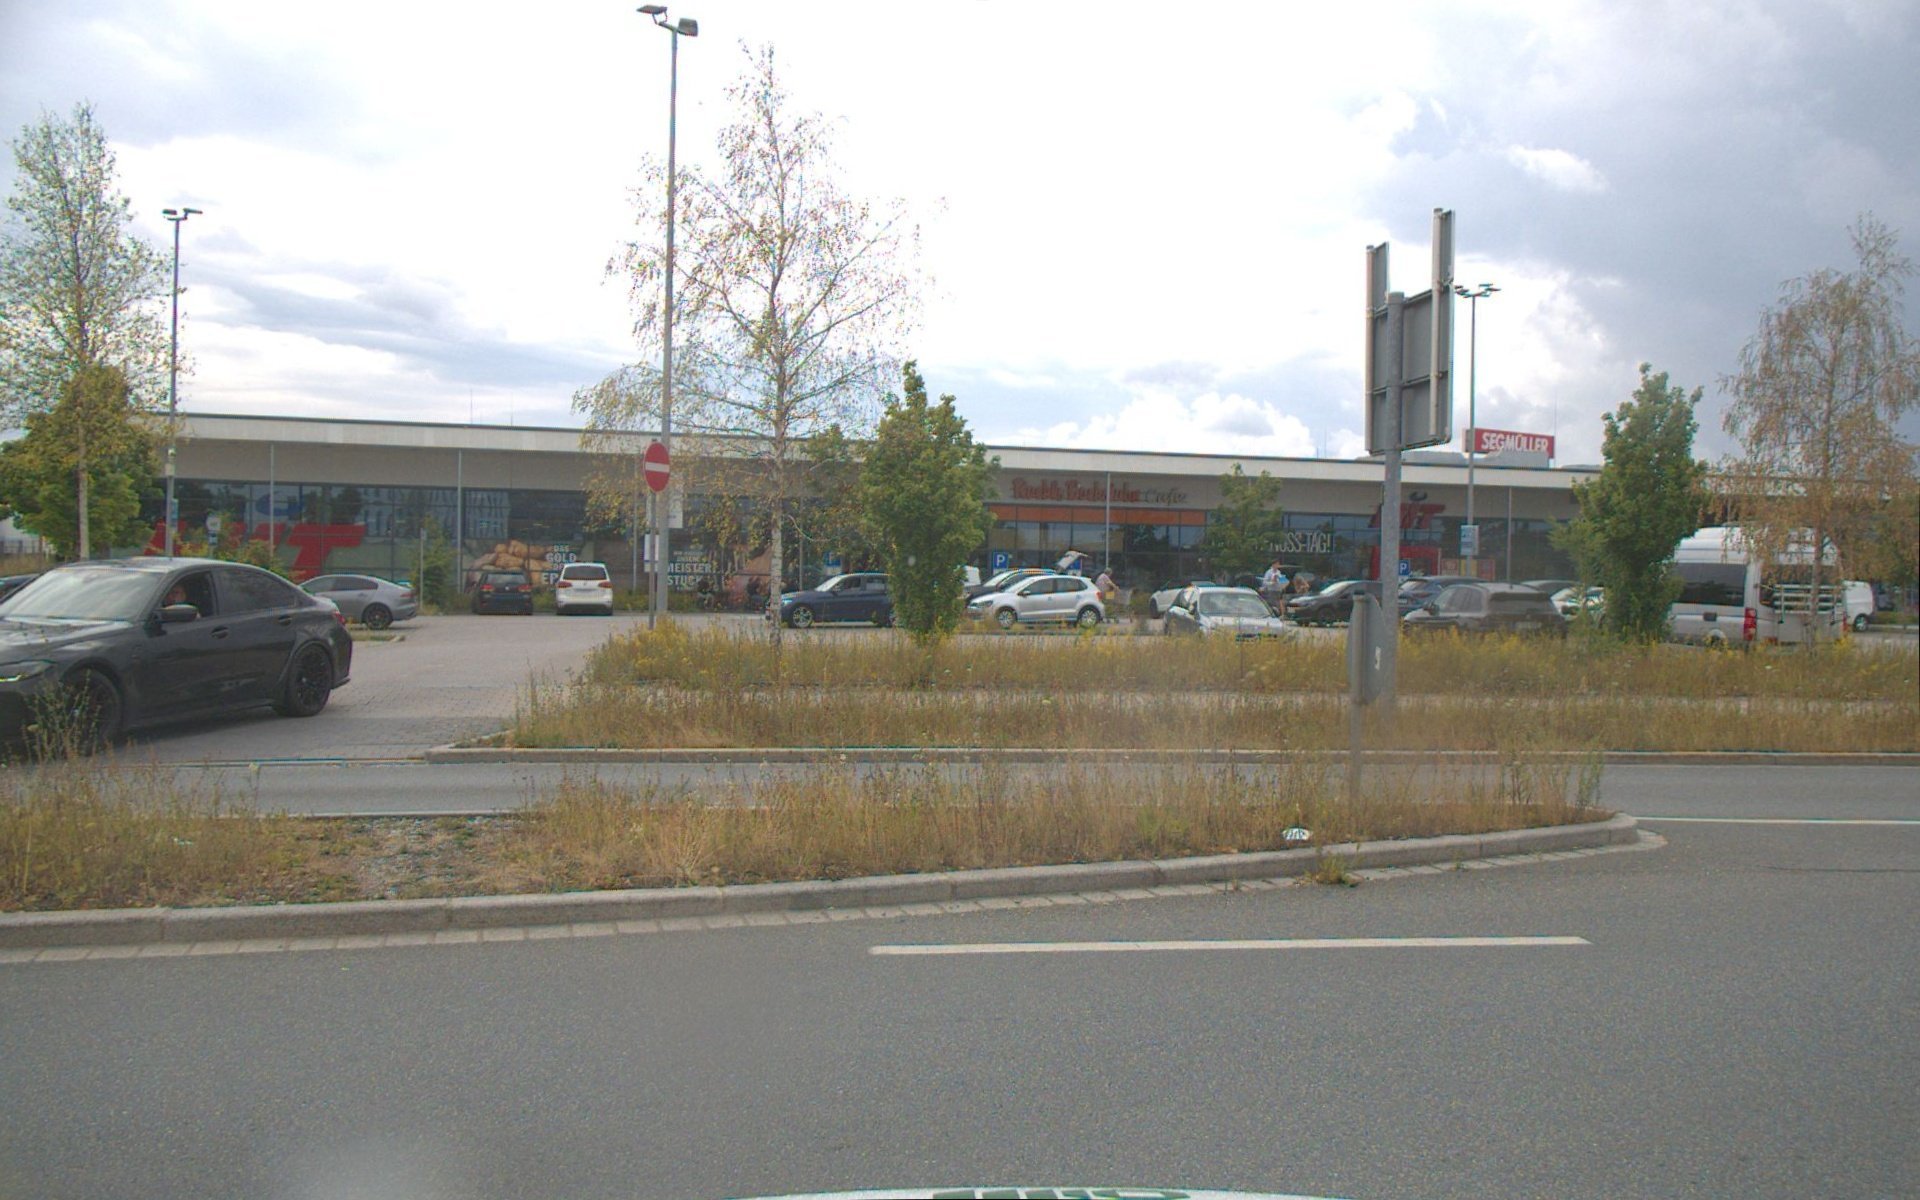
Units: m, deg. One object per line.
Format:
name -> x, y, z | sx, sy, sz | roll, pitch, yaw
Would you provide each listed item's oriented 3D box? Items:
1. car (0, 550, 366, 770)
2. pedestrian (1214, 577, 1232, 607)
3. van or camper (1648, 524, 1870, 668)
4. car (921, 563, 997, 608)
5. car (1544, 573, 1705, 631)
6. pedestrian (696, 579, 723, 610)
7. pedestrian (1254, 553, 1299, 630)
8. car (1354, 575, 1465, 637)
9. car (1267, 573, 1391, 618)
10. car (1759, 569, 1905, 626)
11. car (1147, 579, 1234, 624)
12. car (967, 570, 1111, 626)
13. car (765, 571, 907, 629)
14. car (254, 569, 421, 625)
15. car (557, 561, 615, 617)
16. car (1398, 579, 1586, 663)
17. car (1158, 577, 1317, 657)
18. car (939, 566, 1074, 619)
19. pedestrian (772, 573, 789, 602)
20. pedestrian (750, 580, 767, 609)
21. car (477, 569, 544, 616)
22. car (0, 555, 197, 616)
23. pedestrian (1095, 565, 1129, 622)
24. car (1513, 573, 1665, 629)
car -> -7.013, 0.340, 13.803 | 1.742, 1.470, 4.615 | 1, 2, 11
pedestrian -> 11.033, -0.343, 69.362 | 0.550, 1.222, 0.526 | 0, 1, -14
van or camper -> 15.165, -0.089, 31.661 | 2.236, 2.536, 3.999 | 1, 0, -1
car -> -0.087, -0.553, 59.287 | 1.958, 1.534, 3.989 | 0, 1, -12
car -> 19.512, 0.046, 48.660 | 3.910, 1.646, 1.998 | 1, 1, -6
pedestrian -> -9.992, -0.226, 65.907 | 0.955, 1.174, 1.128 | 1, 1, -16
pedestrian -> 8.594, -0.239, 44.925 | 0.981, 2.048, 0.866 | 1, 1, -6
car -> 12.891, 0.137, 47.677 | 1.779, 1.682, 3.996 | 1, 1, -5
car -> 13.438, -0.175, 60.299 | 3.918, 1.534, 1.994 | 1, 1, -13
car -> 30.238, -0.085, 57.366 | 4.343, 1.850, 1.991 | 1, 0, -17
car -> 8.537, 0.023, 61.595 | 1.958, 1.534, 3.989 | 1, 1, -12
car -> 2.194, -0.073, 46.142 | 3.683, 1.479, 1.662 | 1, 1, -15
car -> -3.348, -0.009, 44.359 | 3.547, 1.479, 1.661 | 1, 1, -16
car -> -16.199, -0.078, 43.256 | 3.923, 1.375, 1.991 | 1, 0, -17
car -> -12.544, -0.410, 55.639 | 1.792, 1.729, 4.223 | 1, 2, -11
car -> 10.220, 0.363, 32.132 | 1.950, 1.476, 4.144 | 1, 0, -6
car -> 5.256, 0.292, 31.877 | 1.950, 1.408, 4.144 | 1, 0, -6
car -> 1.351, -0.220, 49.005 | 3.683, 1.479, 1.662 | 1, 1, -15
pedestrian -> -7.083, -0.498, 65.251 | 0.567, 1.143, 0.559 | 0, 1, -18
pedestrian -> -8.046, -0.224, 65.953 | 0.567, 1.143, 0.559 | 0, 1, -18
car -> -14.879, -0.263, 54.920 | 1.873, 1.469, 3.989 | 1, 1, -11
car -> -24.535, -0.409, 46.988 | 4.931, 1.585, 1.990 | 1, 0, -19
pedestrian -> 4.525, -0.187, 49.304 | 0.806, 1.660, 0.897 | 1, 0, -9
car -> 19.460, 0.025, 51.247 | 3.910, 1.646, 1.998 | 1, 1, -6
